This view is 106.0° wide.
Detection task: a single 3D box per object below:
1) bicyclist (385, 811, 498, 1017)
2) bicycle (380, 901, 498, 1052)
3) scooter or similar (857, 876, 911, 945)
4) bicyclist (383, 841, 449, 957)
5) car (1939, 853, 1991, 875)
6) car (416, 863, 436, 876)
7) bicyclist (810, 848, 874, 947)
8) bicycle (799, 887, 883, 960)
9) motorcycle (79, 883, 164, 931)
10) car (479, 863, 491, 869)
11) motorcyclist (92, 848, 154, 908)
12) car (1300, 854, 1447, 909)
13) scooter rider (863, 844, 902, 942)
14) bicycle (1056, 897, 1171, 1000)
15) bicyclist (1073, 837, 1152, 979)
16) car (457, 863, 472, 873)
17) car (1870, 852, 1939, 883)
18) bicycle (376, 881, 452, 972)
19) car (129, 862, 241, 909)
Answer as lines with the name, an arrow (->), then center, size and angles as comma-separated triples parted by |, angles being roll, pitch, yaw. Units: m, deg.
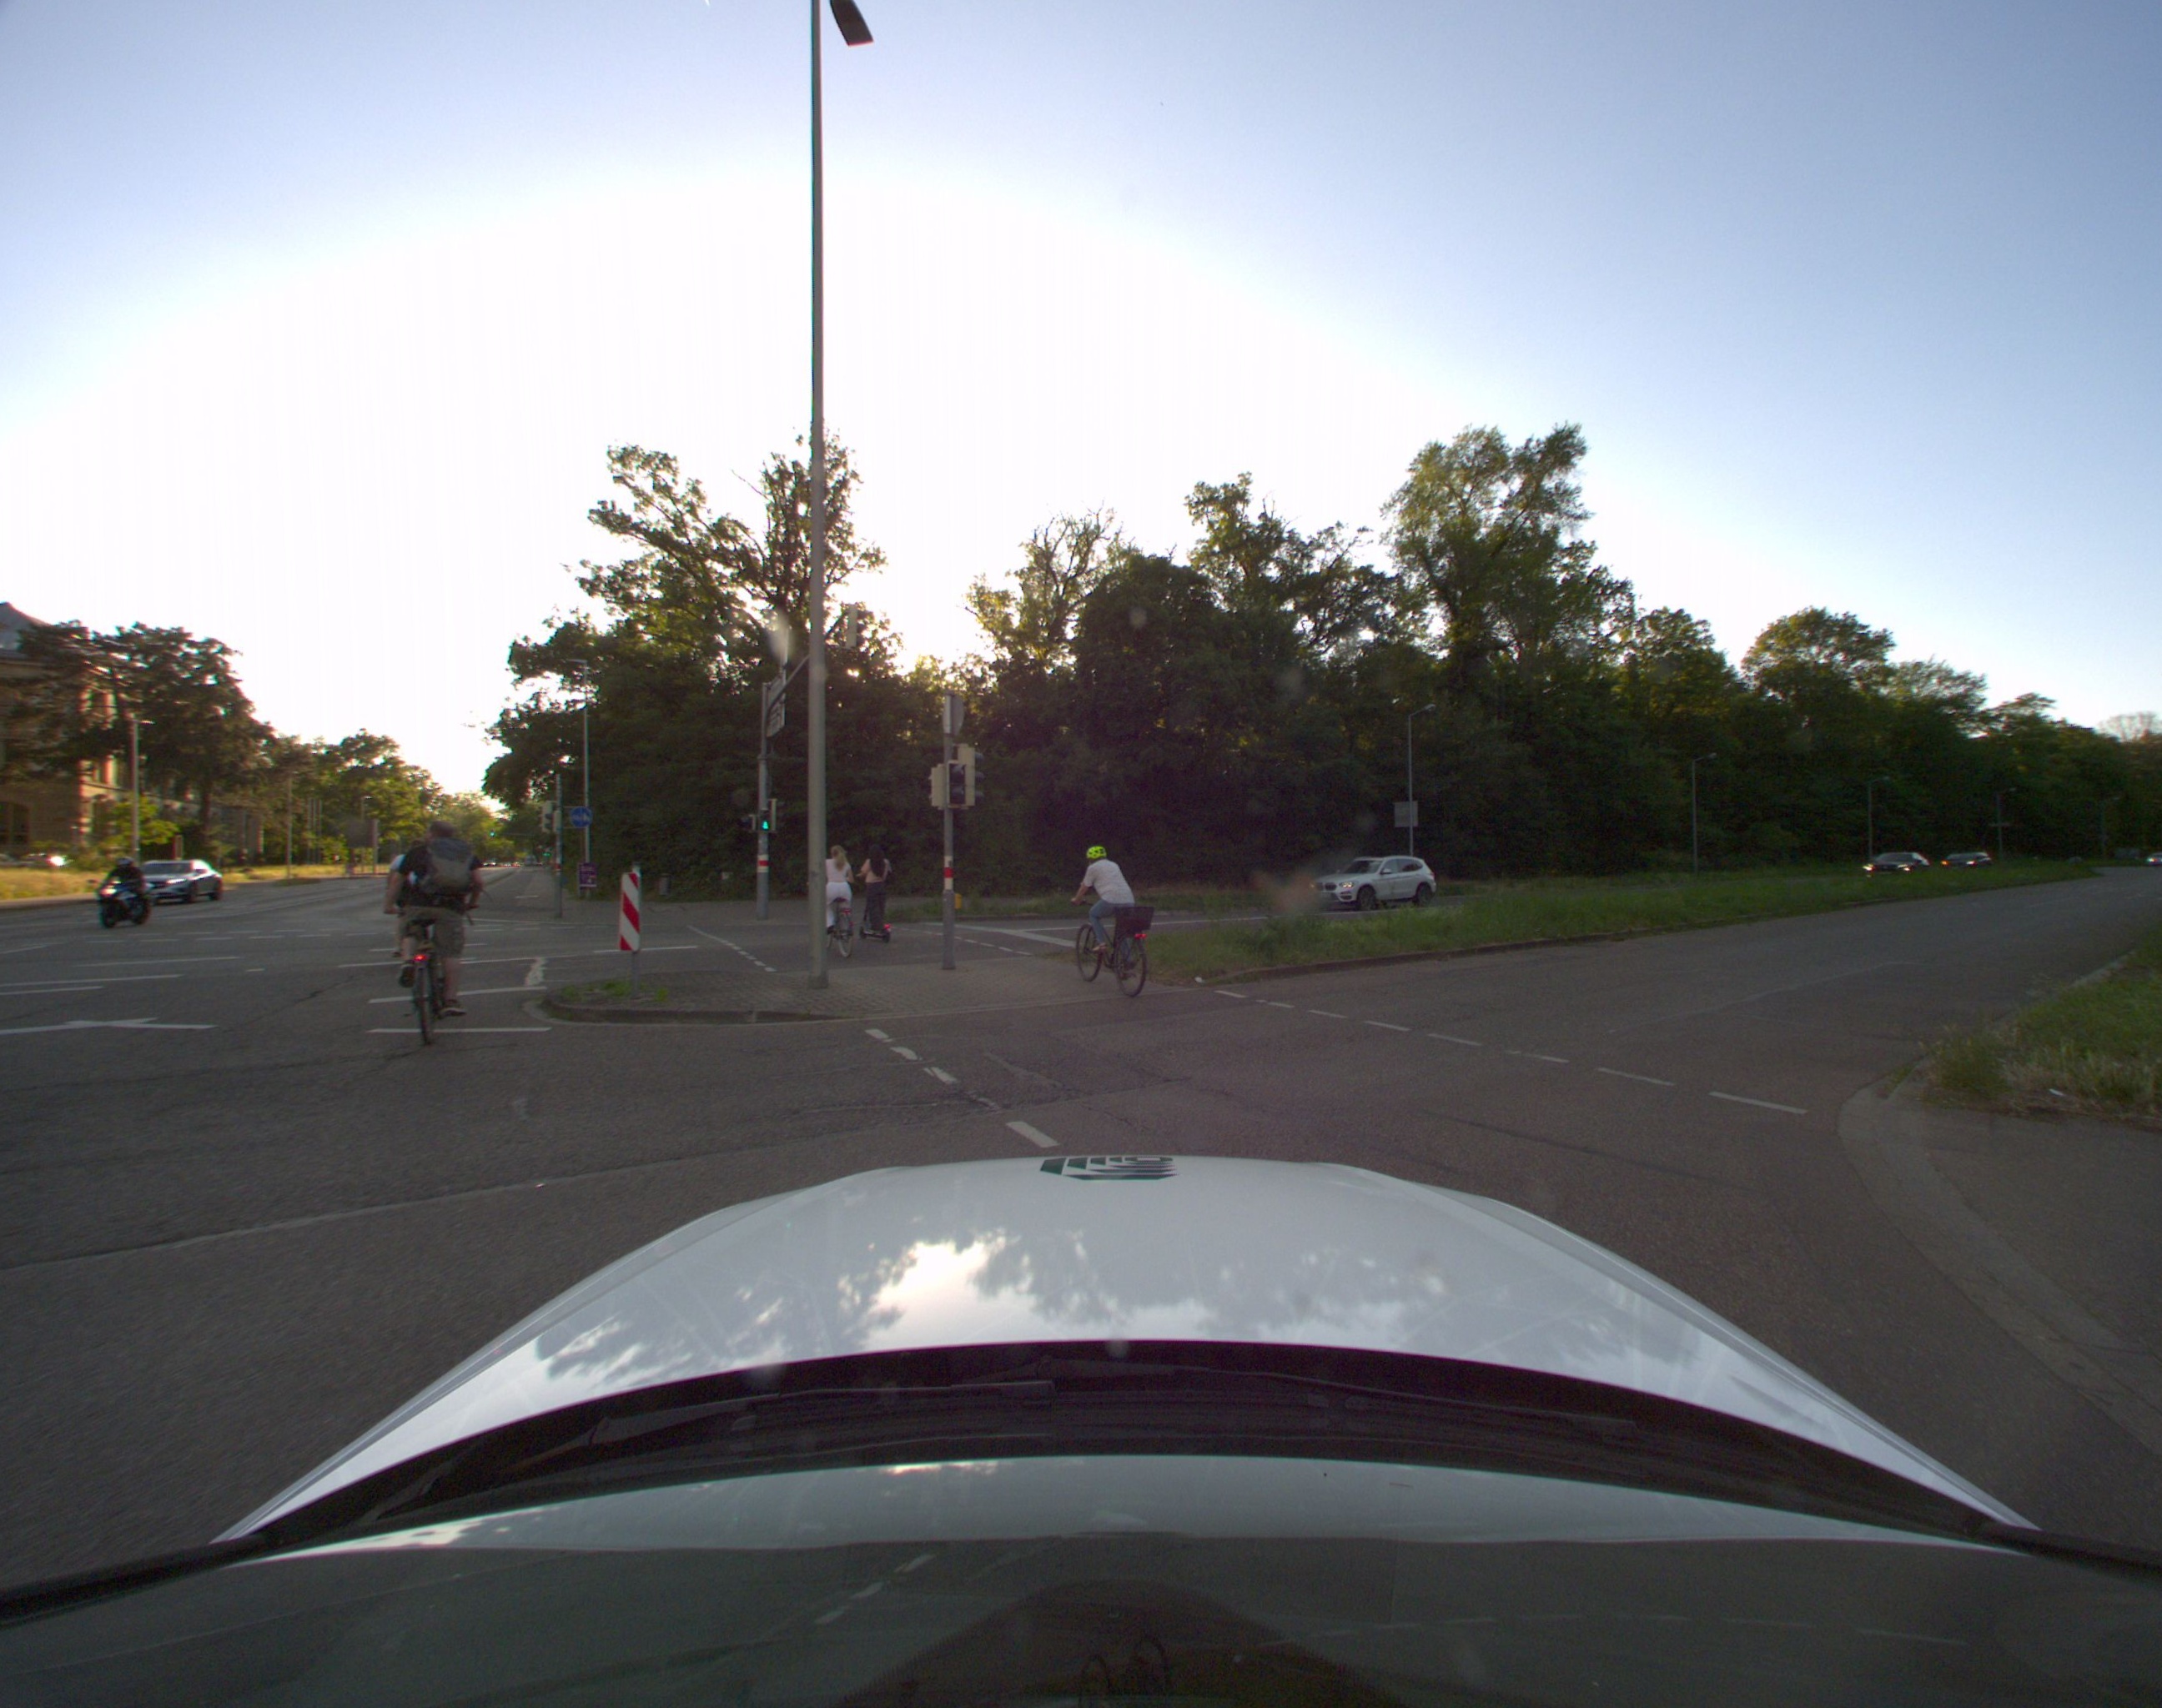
bicyclist -> -5.574, 0.497, 7.132 | 0.704, 1.667, 0.789 | 2, -2, -37
bicycle -> -5.560, 0.982, 7.103 | 0.704, 1.063, 1.804 | 1, -1, -37
scooter or similar -> -3.641, 1.004, 14.981 | 0.565, 1.189, 1.407 | 0, -1, -32
bicyclist -> -9.473, 0.618, 11.627 | 0.608, 1.586, 0.900 | 1, -2, -33
car -> 68.684, 0.803, 63.239 | 4.669, 1.627, 1.979 | 0, -2, -33
car -> -80.248, 1.902, 99.838 | 1.784, 1.474, 3.734 | 0, -1, -37
bicyclist -> -3.833, 0.666, 13.044 | 0.765, 1.518, 0.848 | 1, -1, -33
bicycle -> -3.899, 1.074, 13.134 | 0.776, 1.007, 1.995 | 1, -1, -33
motorcycle -> -22.101, 1.194, 18.798 | 0.759, 1.001, 1.859 | 0, -1, -33
car -> -134.861, 2.778, 184.344 | 2.008, 1.266, 3.957 | 0, -1, -35
motorcyclist -> -22.109, 0.545, 18.804 | 0.755, 1.358, 0.696 | 0, -1, -33
car -> 9.330, 0.845, 25.910 | 4.655, 1.613, 1.809 | 0, -3, -30
scooter rider -> -3.657, 0.702, 15.004 | 0.569, 1.767, 0.500 | 0, -1, -32
bicycle -> 0.337, 1.055, 9.617 | 0.566, 1.014, 1.786 | 0, -1, -26
bicyclist -> 0.359, 0.602, 9.569 | 0.557, 1.569, 0.891 | 0, -1, -27
car -> -105.200, 2.320, 139.068 | 2.009, 1.640, 3.956 | 0, -1, -36
car -> 45.802, 0.757, 45.272 | 4.468, 1.627, 1.800 | 0, -2, -33
bicycle -> -9.457, 0.976, 11.604 | 0.617, 1.138, 1.865 | 1, -1, -33
car -> -34.233, 1.135, 31.260 | 1.777, 1.635, 4.466 | 0, -1, -32
